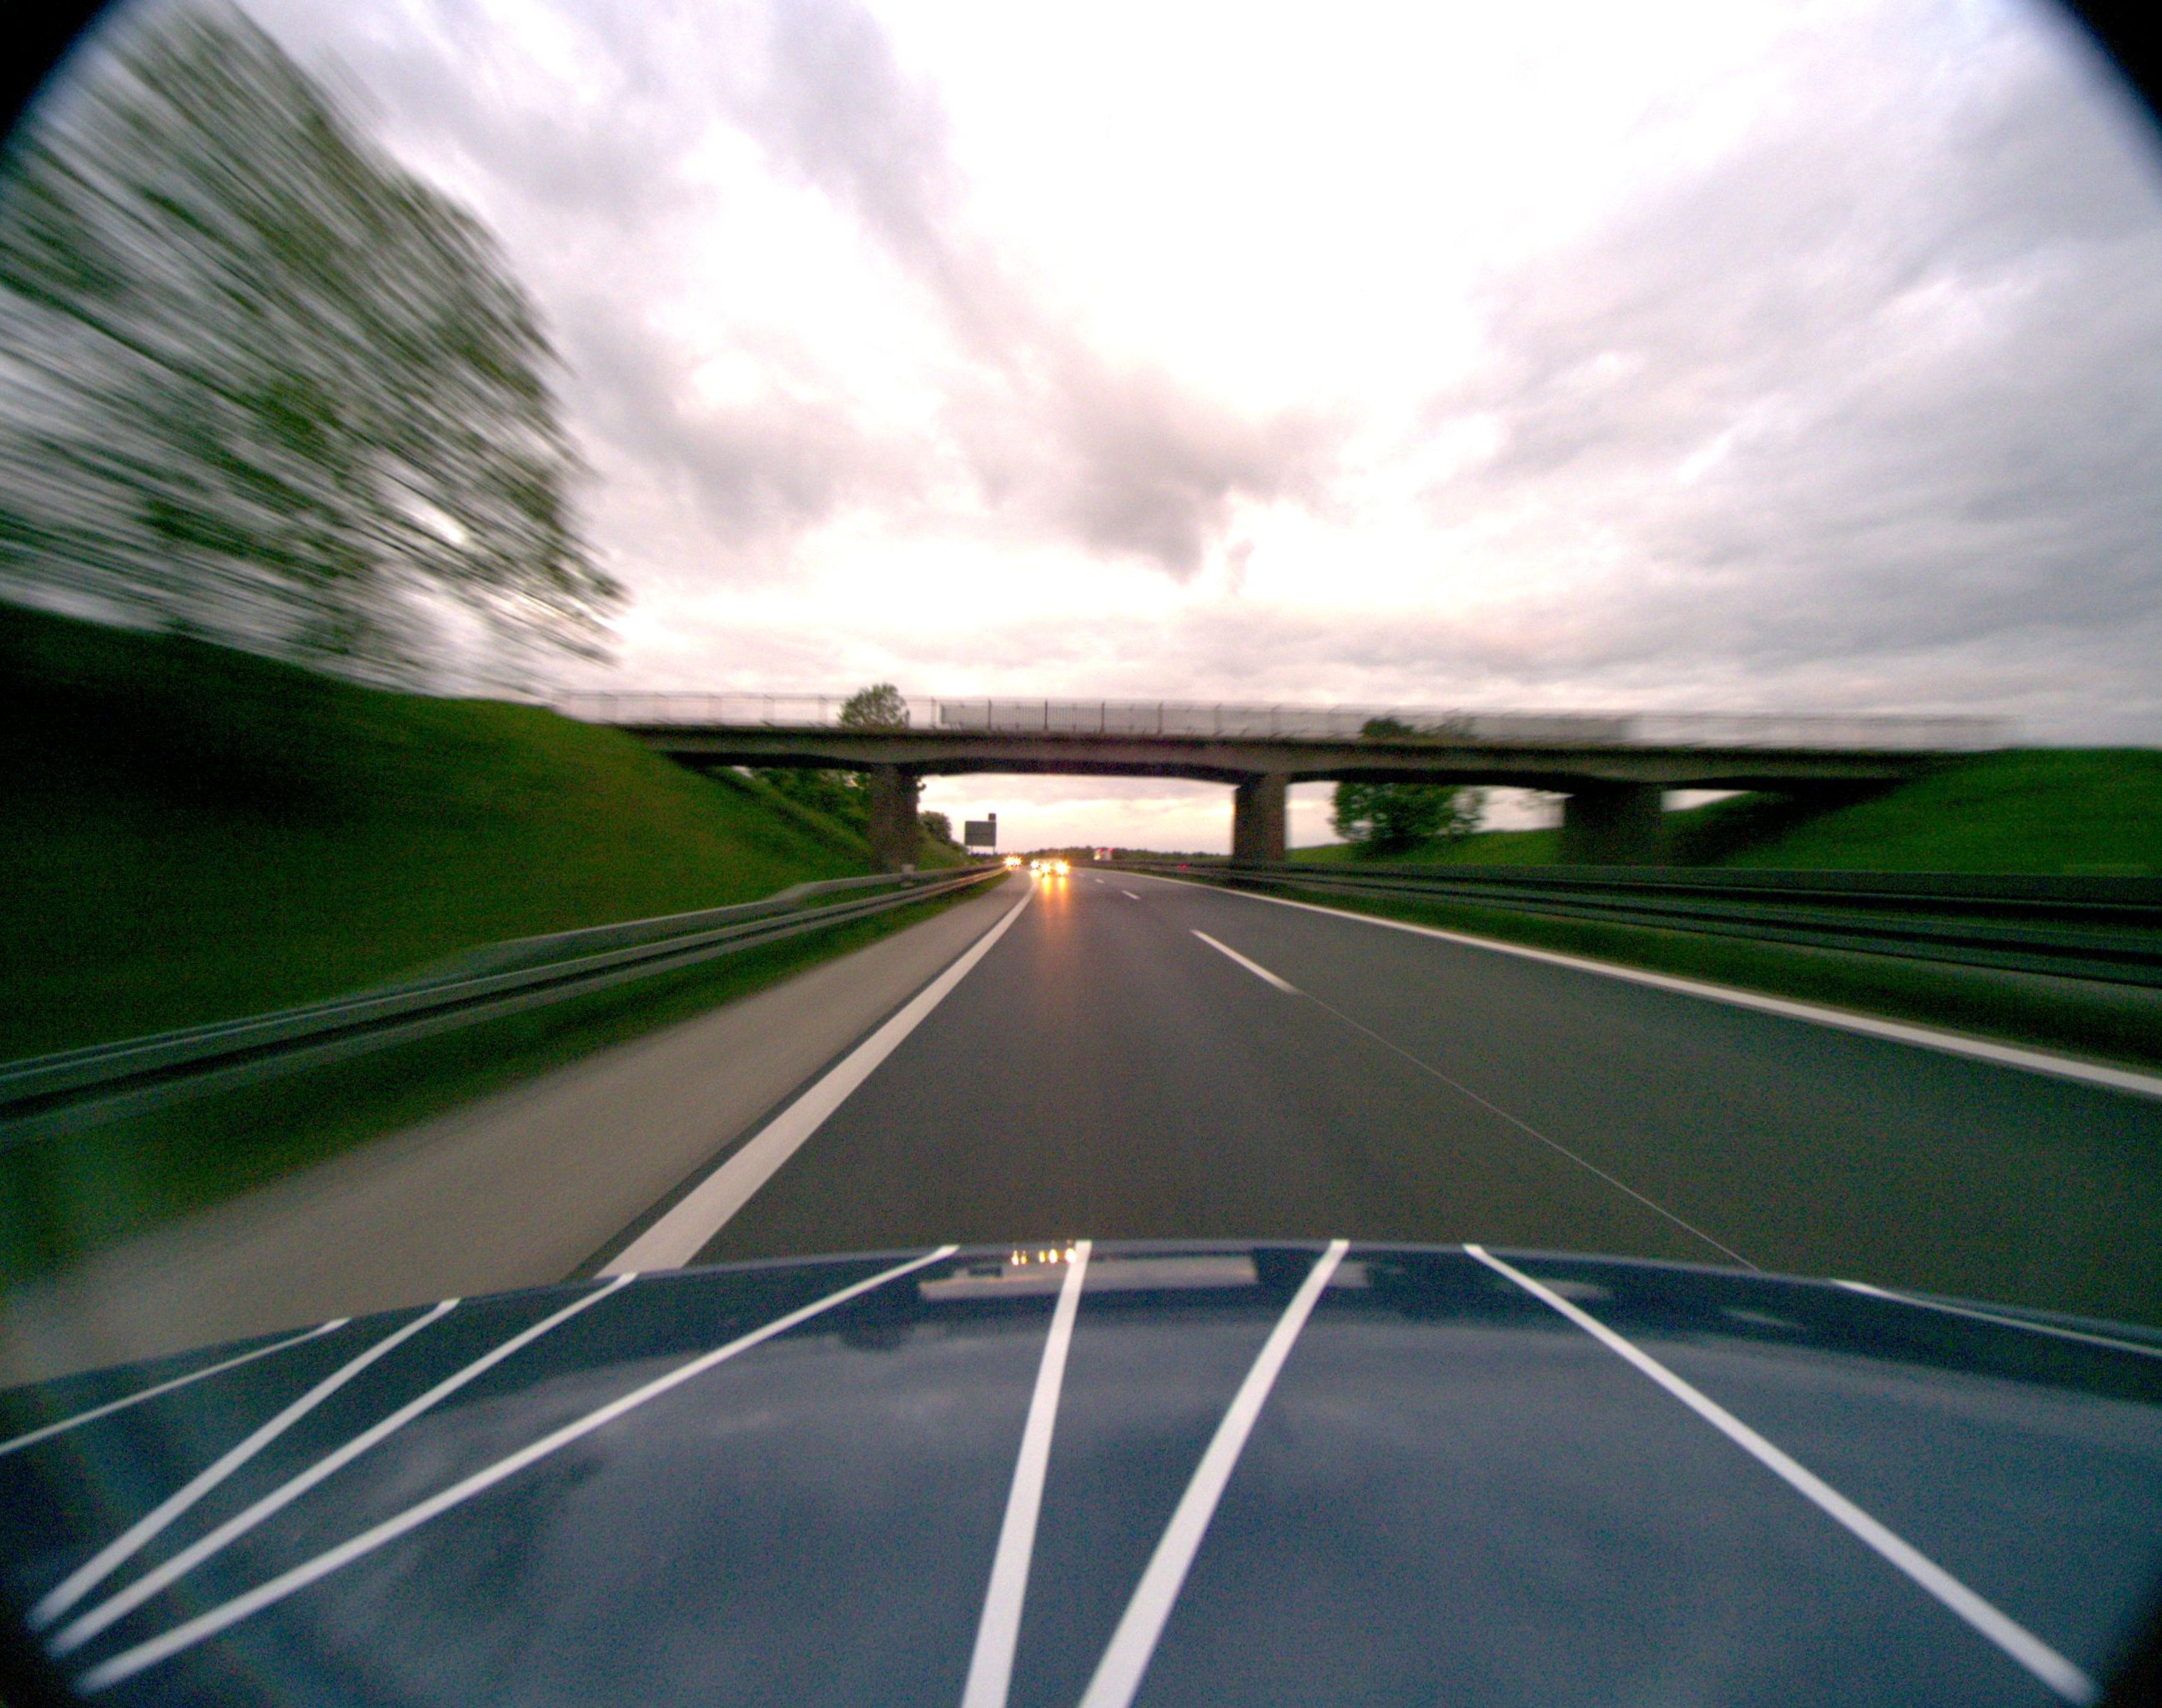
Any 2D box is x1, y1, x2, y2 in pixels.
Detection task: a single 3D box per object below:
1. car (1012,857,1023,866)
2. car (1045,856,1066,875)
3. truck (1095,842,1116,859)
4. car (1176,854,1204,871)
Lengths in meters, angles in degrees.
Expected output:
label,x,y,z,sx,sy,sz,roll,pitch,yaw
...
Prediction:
label,x,y,z,sx,sy,sz,roll,pitch,yaw
car,-12.798,1.498,152.580,1.921,1.827,3.998,1,-1,-7
car,-2.181,0.925,63.723,1.682,1.504,3.998,0,0,-4
truck,4.511,-0.634,141.194,2.620,3.091,6.664,-2,0,-8
car,10.065,0.789,70.472,1.738,1.412,3.999,-4,0,-3
